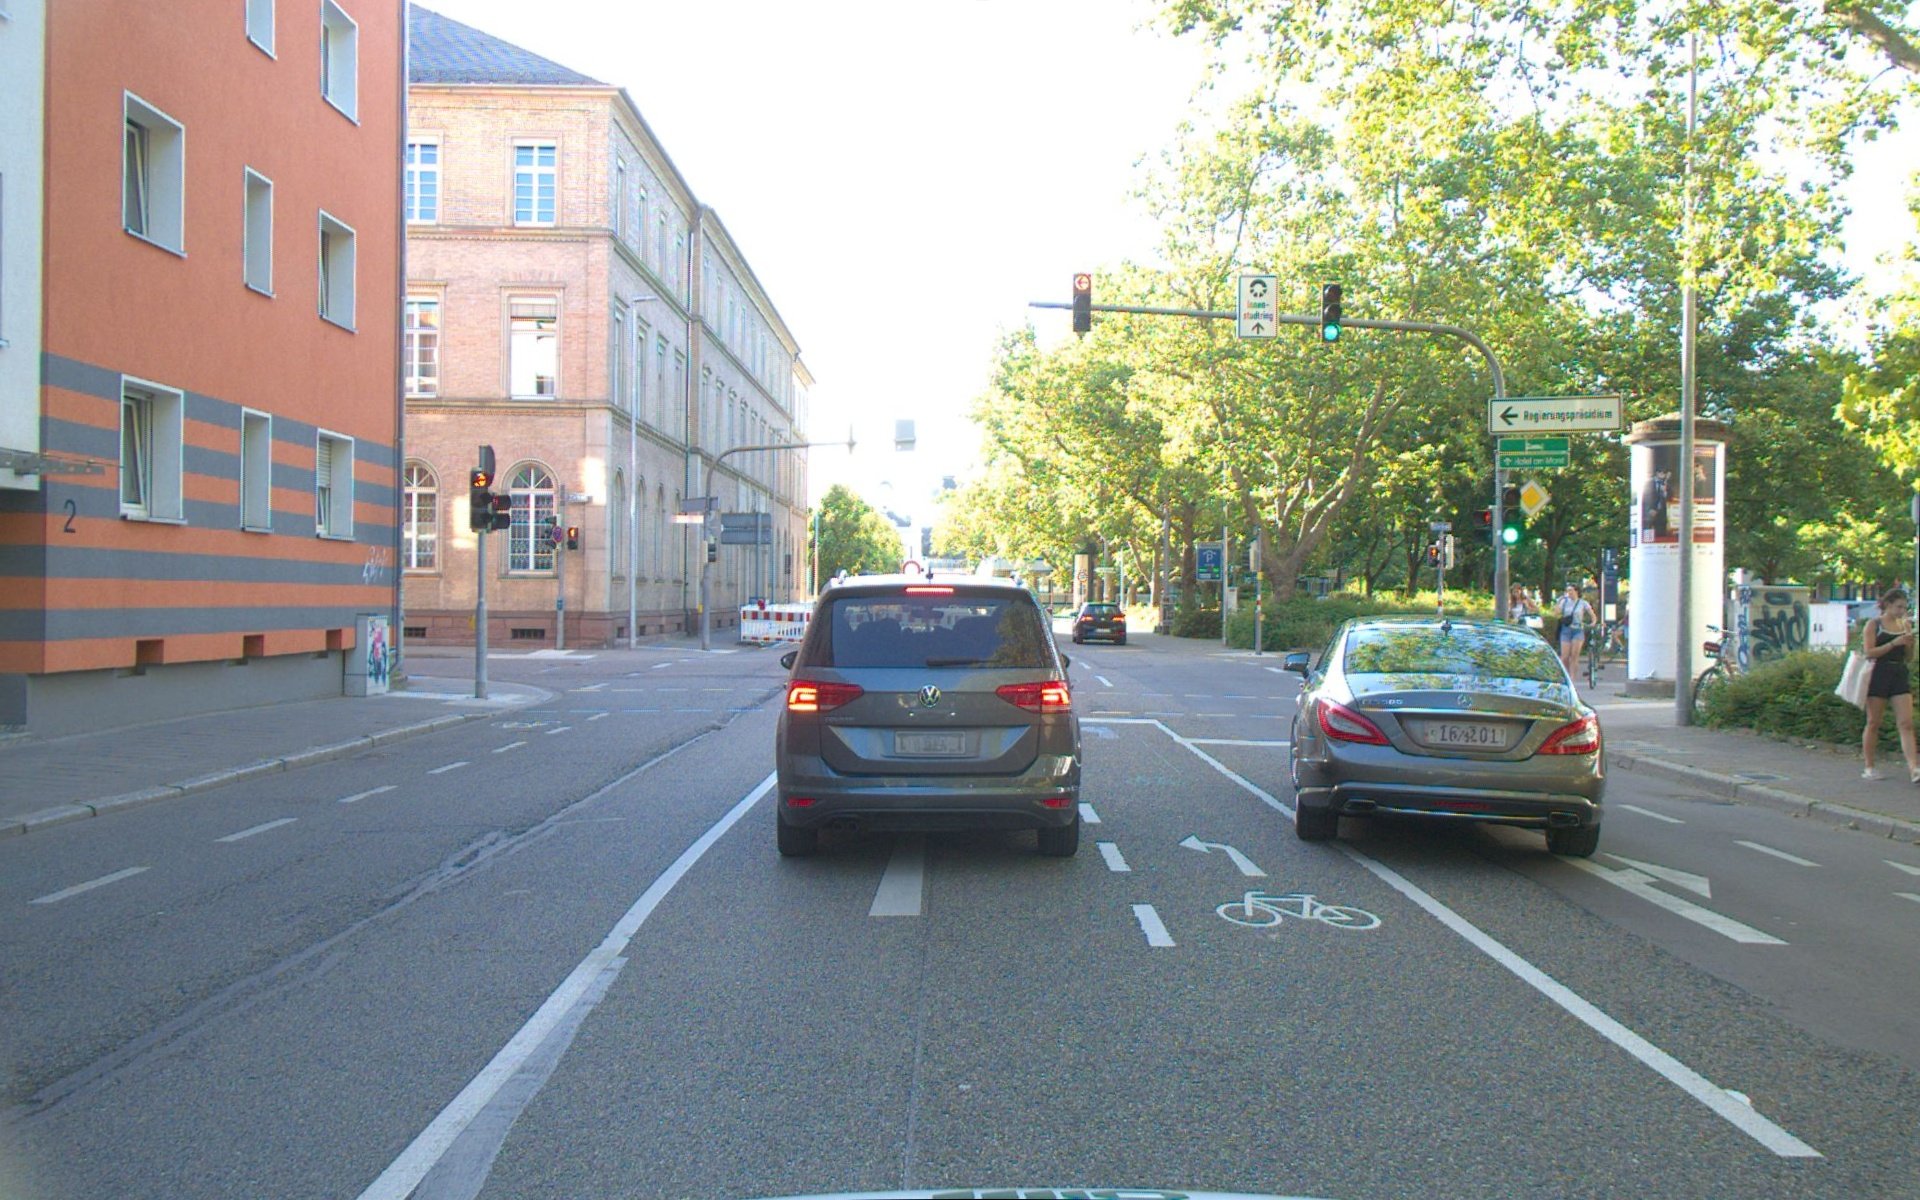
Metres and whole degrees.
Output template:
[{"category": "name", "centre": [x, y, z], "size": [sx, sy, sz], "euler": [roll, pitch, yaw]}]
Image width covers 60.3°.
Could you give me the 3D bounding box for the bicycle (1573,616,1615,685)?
[{"category": "bicycle", "centre": [10.829, 0.845, 28.278], "size": [0.513, 1.119, 1.742], "euler": [1, 0, 17]}]

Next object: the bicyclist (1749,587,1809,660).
[{"category": "bicyclist", "centre": [18.757, 0.539, 37.901], "size": [0.944, 1.643, 0.870], "euler": [1, 0, 2]}]

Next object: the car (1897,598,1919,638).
[{"category": "car", "centre": [36.888, 0.698, 61.761], "size": [1.596, 1.508, 3.794], "euler": [1, 0, -1]}]

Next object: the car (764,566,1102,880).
[{"category": "car", "centre": [-0.095, 0.650, 10.670], "size": [1.772, 1.640, 4.001], "euler": [0, 0, 1]}]

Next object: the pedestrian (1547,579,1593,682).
[{"category": "pedestrian", "centre": [10.433, 0.514, 28.321], "size": [0.669, 1.727, 0.971], "euler": [1, 0, 18]}]

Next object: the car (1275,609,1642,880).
[{"category": "car", "centre": [3.204, 0.812, 11.504], "size": [1.804, 1.454, 4.521], "euler": [1, 0, 9]}]

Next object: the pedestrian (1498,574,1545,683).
[{"category": "pedestrian", "centre": [9.727, 0.498, 28.627], "size": [0.717, 1.840, 0.909], "euler": [-1, -1, 21]}]

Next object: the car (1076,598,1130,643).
[{"category": "car", "centre": [4.981, 0.692, 57.961], "size": [1.654, 1.465, 3.903], "euler": [2, 0, 2]}]

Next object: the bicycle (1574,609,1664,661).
[{"category": "bicycle", "centre": [16.401, 0.868, 41.154], "size": [1.989, 1.242, 0.599], "euler": [1, 0, -1]}]

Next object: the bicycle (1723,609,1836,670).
[{"category": "bicycle", "centre": [18.785, 0.897, 37.921], "size": [2.241, 1.349, 0.660], "euler": [1, 0, 1]}]

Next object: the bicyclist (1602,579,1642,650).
[{"category": "bicyclist", "centre": [16.471, 0.364, 41.134], "size": [0.695, 1.727, 0.675], "euler": [1, 0, -1]}]

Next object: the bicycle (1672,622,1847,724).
[{"category": "bicycle", "centre": [9.955, 0.906, 20.618], "size": [1.936, 1.210, 0.528], "euler": [1, 0, -2]}]

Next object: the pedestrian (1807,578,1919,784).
[{"category": "pedestrian", "centre": [7.888, 0.662, 14.115], "size": [0.782, 1.658, 0.907], "euler": [-3, 1, 1]}]
